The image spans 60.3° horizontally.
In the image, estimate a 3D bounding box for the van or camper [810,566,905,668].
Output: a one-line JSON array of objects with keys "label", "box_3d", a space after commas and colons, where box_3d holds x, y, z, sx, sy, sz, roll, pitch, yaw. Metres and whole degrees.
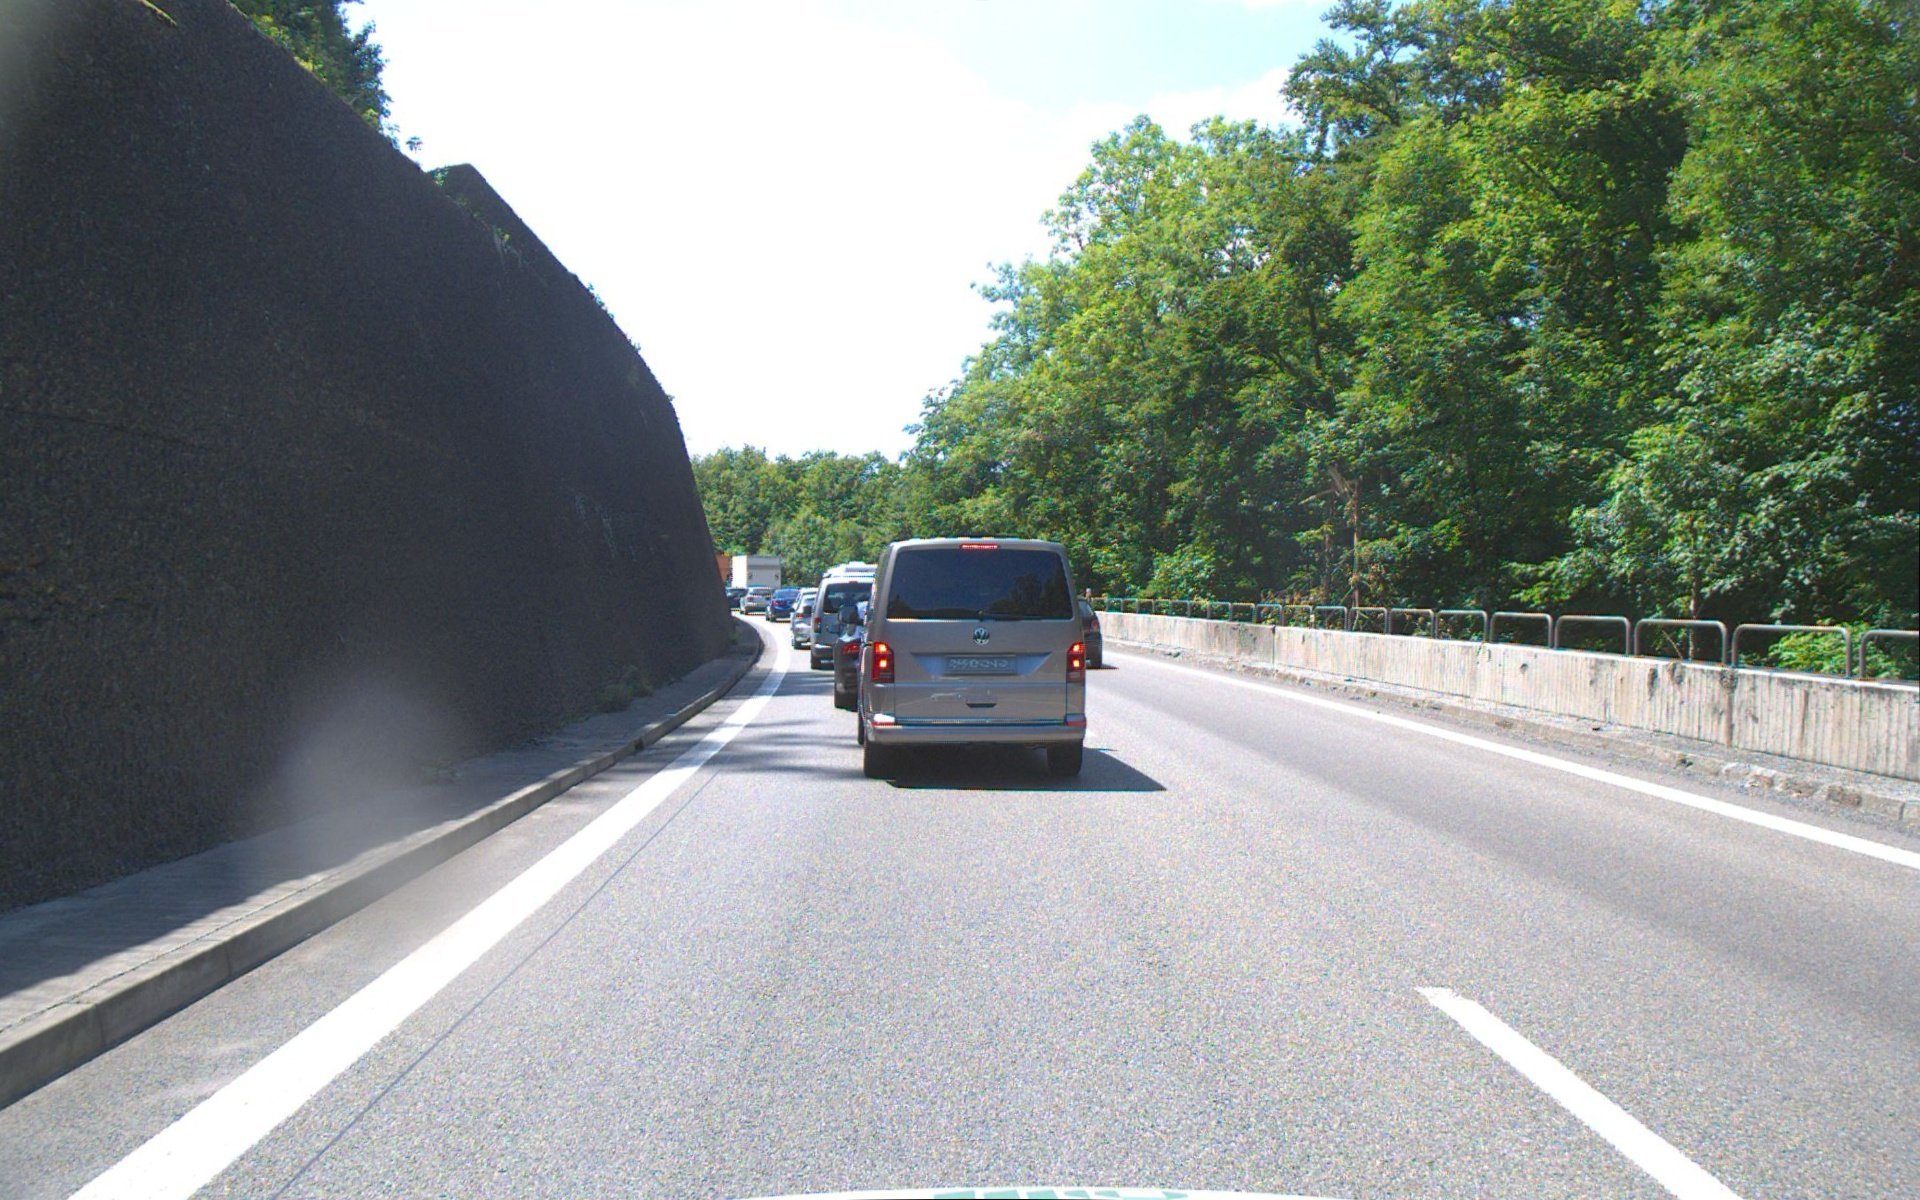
[{"label": "van or camper", "box_3d": [-2.159, 0.312, 34.203, 1.817, 1.976, 4.161, 0, 0, -5]}]

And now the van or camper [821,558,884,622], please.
[{"label": "van or camper", "box_3d": [-5.550, -0.542, 84.261, 2.555, 2.904, 6.325, 5, 0, -8]}]

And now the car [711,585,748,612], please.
[{"label": "car", "box_3d": [-14.042, -0.122, 100.702, 1.722, 1.598, 3.755, 1, 0, -15]}]

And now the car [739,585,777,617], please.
[{"label": "car", "box_3d": [-10.881, 0.040, 89.107, 1.956, 1.646, 3.994, 0, 0, -7]}]

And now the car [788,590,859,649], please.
[{"label": "car", "box_3d": [-3.676, 0.486, 44.947, 1.736, 1.498, 3.998, 1, 0, -3]}]

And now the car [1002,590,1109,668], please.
[{"label": "car", "box_3d": [1.922, 0.563, 34.426, 1.652, 1.484, 3.996, 2, 0, -5]}]

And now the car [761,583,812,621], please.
[{"label": "car", "box_3d": [-7.849, 0.064, 74.484, 1.826, 1.648, 3.987, 1, 0, -13]}]

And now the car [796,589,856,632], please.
[{"label": "car", "box_3d": [-4.953, 0.350, 60.704, 1.829, 1.512, 3.991, 1, 0, -10]}]

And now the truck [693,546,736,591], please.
[{"label": "truck", "box_3d": [-21.466, -2.714, 144.285, 3.107, 3.527, 8.202, 5, 0, -10]}]

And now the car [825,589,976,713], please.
[{"label": "car", "box_3d": [-0.784, 0.647, 23.201, 1.866, 1.515, 4.378, 2, 0, -1]}]

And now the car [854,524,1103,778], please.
[{"label": "car", "box_3d": [0.000, 0.392, 15.348, 1.902, 1.965, 4.690, 1, 0, -4]}]

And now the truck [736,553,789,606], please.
[{"label": "truck", "box_3d": [-14.548, -1.501, 121.371, 2.876, 3.751, 7.696, 0, 0, -14]}]
